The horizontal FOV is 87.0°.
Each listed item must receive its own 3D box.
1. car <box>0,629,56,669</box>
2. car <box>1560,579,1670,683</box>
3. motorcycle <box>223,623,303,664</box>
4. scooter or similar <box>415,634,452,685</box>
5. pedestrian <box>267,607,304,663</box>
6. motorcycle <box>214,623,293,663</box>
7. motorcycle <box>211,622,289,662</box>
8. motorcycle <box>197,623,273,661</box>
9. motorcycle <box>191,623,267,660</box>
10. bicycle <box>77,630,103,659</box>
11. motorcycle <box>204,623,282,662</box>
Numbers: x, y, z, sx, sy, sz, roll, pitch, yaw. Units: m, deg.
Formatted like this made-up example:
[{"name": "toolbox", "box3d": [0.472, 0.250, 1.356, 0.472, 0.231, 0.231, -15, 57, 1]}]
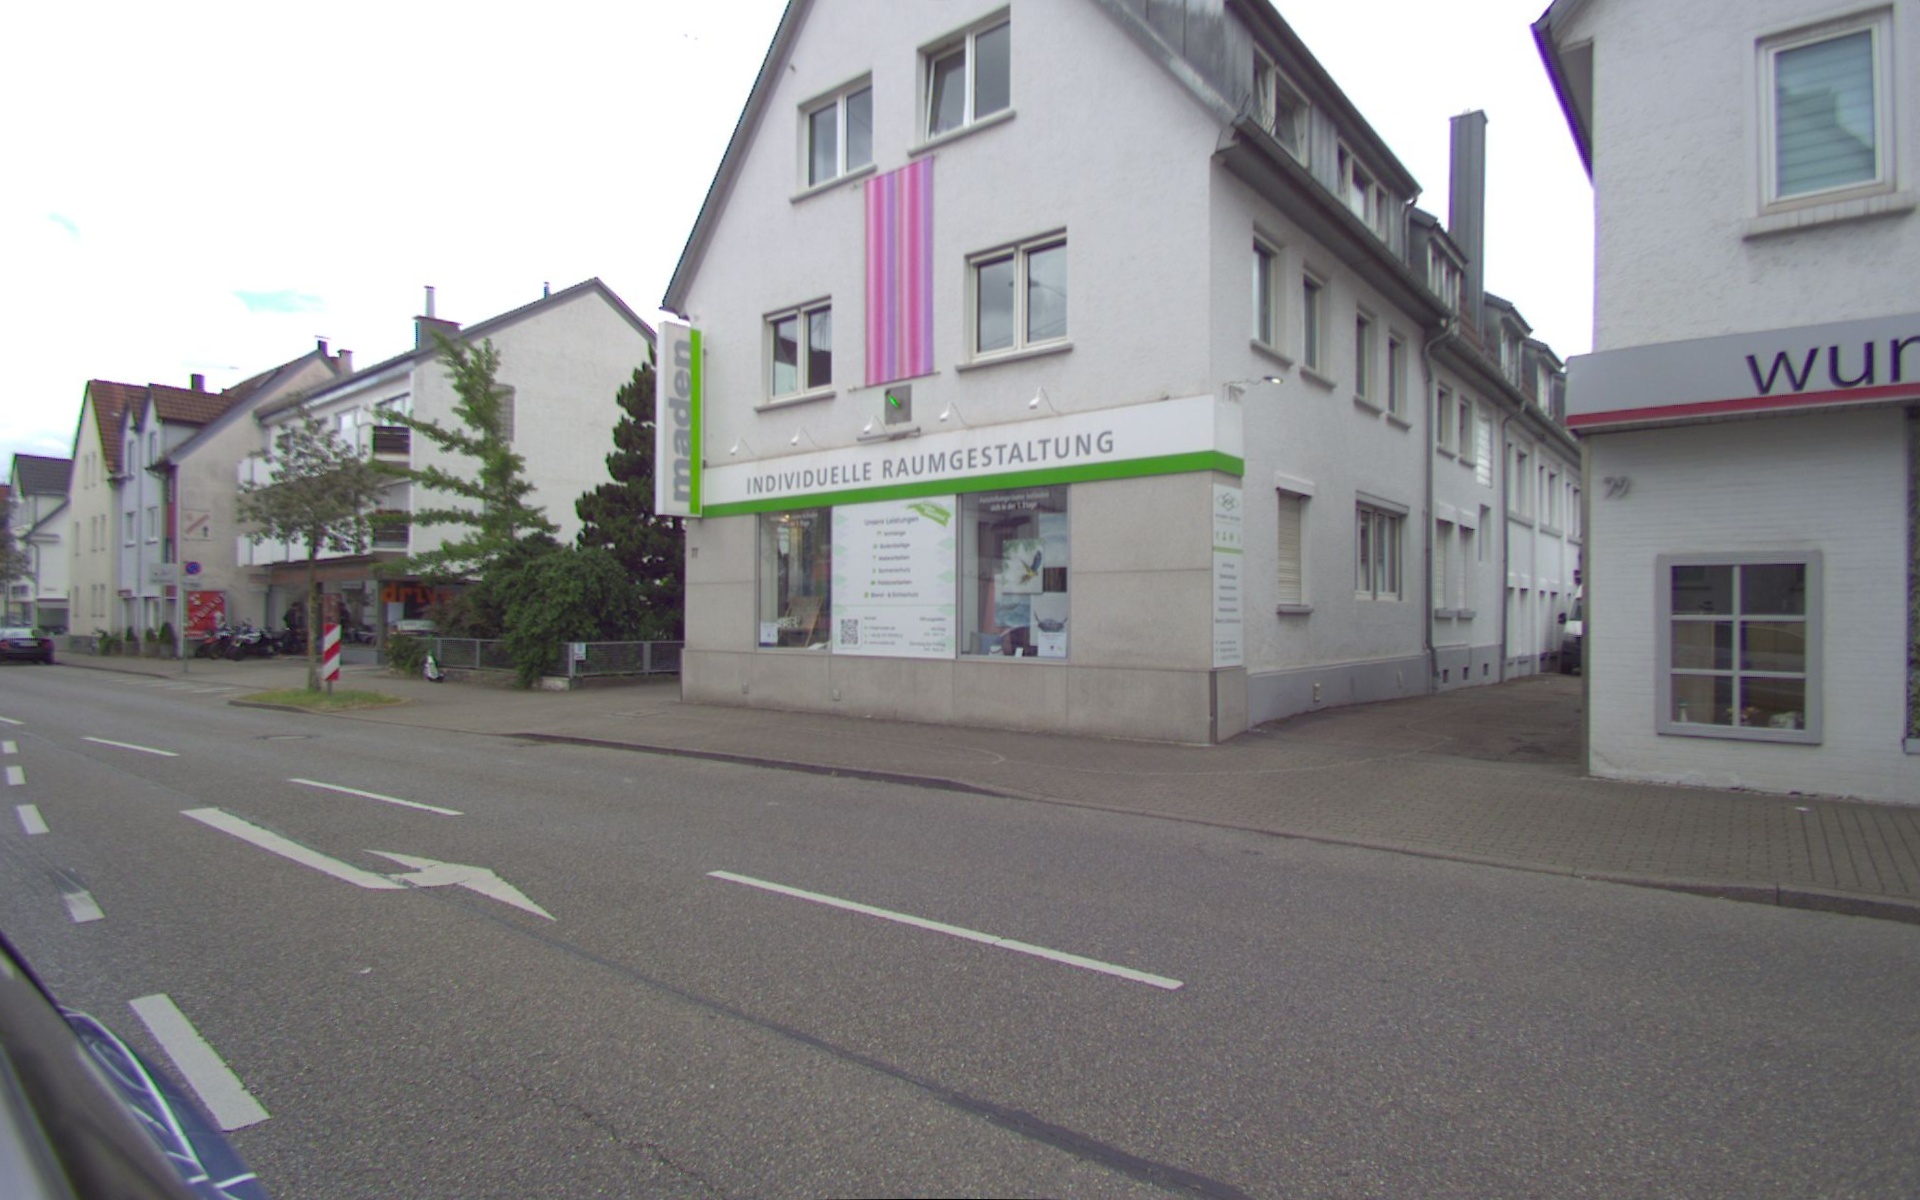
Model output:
[{"name": "car", "box3d": [-36.258, 1.836, 38.746, 4.337, 1.428, 1.770, -1, -2, 39]}, {"name": "car", "box3d": [18.156, 0.746, 27.923, 1.957, 2.527, 5.918, 2, 1, 38]}, {"name": "motorcycle", "box3d": [-24.444, 1.494, 35.510, 0.612, 1.275, 2.204, -1, 1, 38]}, {"name": "scooter or similar", "box3d": [-12.002, 1.336, 23.051, 1.179, 1.120, 0.336, -1, -1, 41]}, {"name": "pedestrian", "box3d": [-23.330, 1.200, 35.003, 1.019, 1.863, 0.744, -1, 2, 40]}, {"name": "motorcycle", "box3d": [-25.129, 1.495, 36.033, 0.612, 1.275, 2.204, -1, 1, 38]}, {"name": "motorcycle", "box3d": [-25.691, 1.507, 36.663, 0.612, 1.275, 2.204, -1, 1, 38]}, {"name": "motorcycle", "box3d": [-26.836, 1.528, 37.496, 0.612, 1.275, 2.204, -1, 1, 38]}, {"name": "motorcycle", "box3d": [-27.454, 1.541, 38.055, 0.612, 1.275, 2.204, -1, 1, 38]}, {"name": "bicycle", "box3d": [-37.668, 1.903, 43.823, 2.022, 1.205, 0.509, -1, -1, 39]}, {"name": "motorcycle", "box3d": [-26.251, 1.523, 37.084, 0.698, 1.275, 2.204, -1, 1, 38]}]
